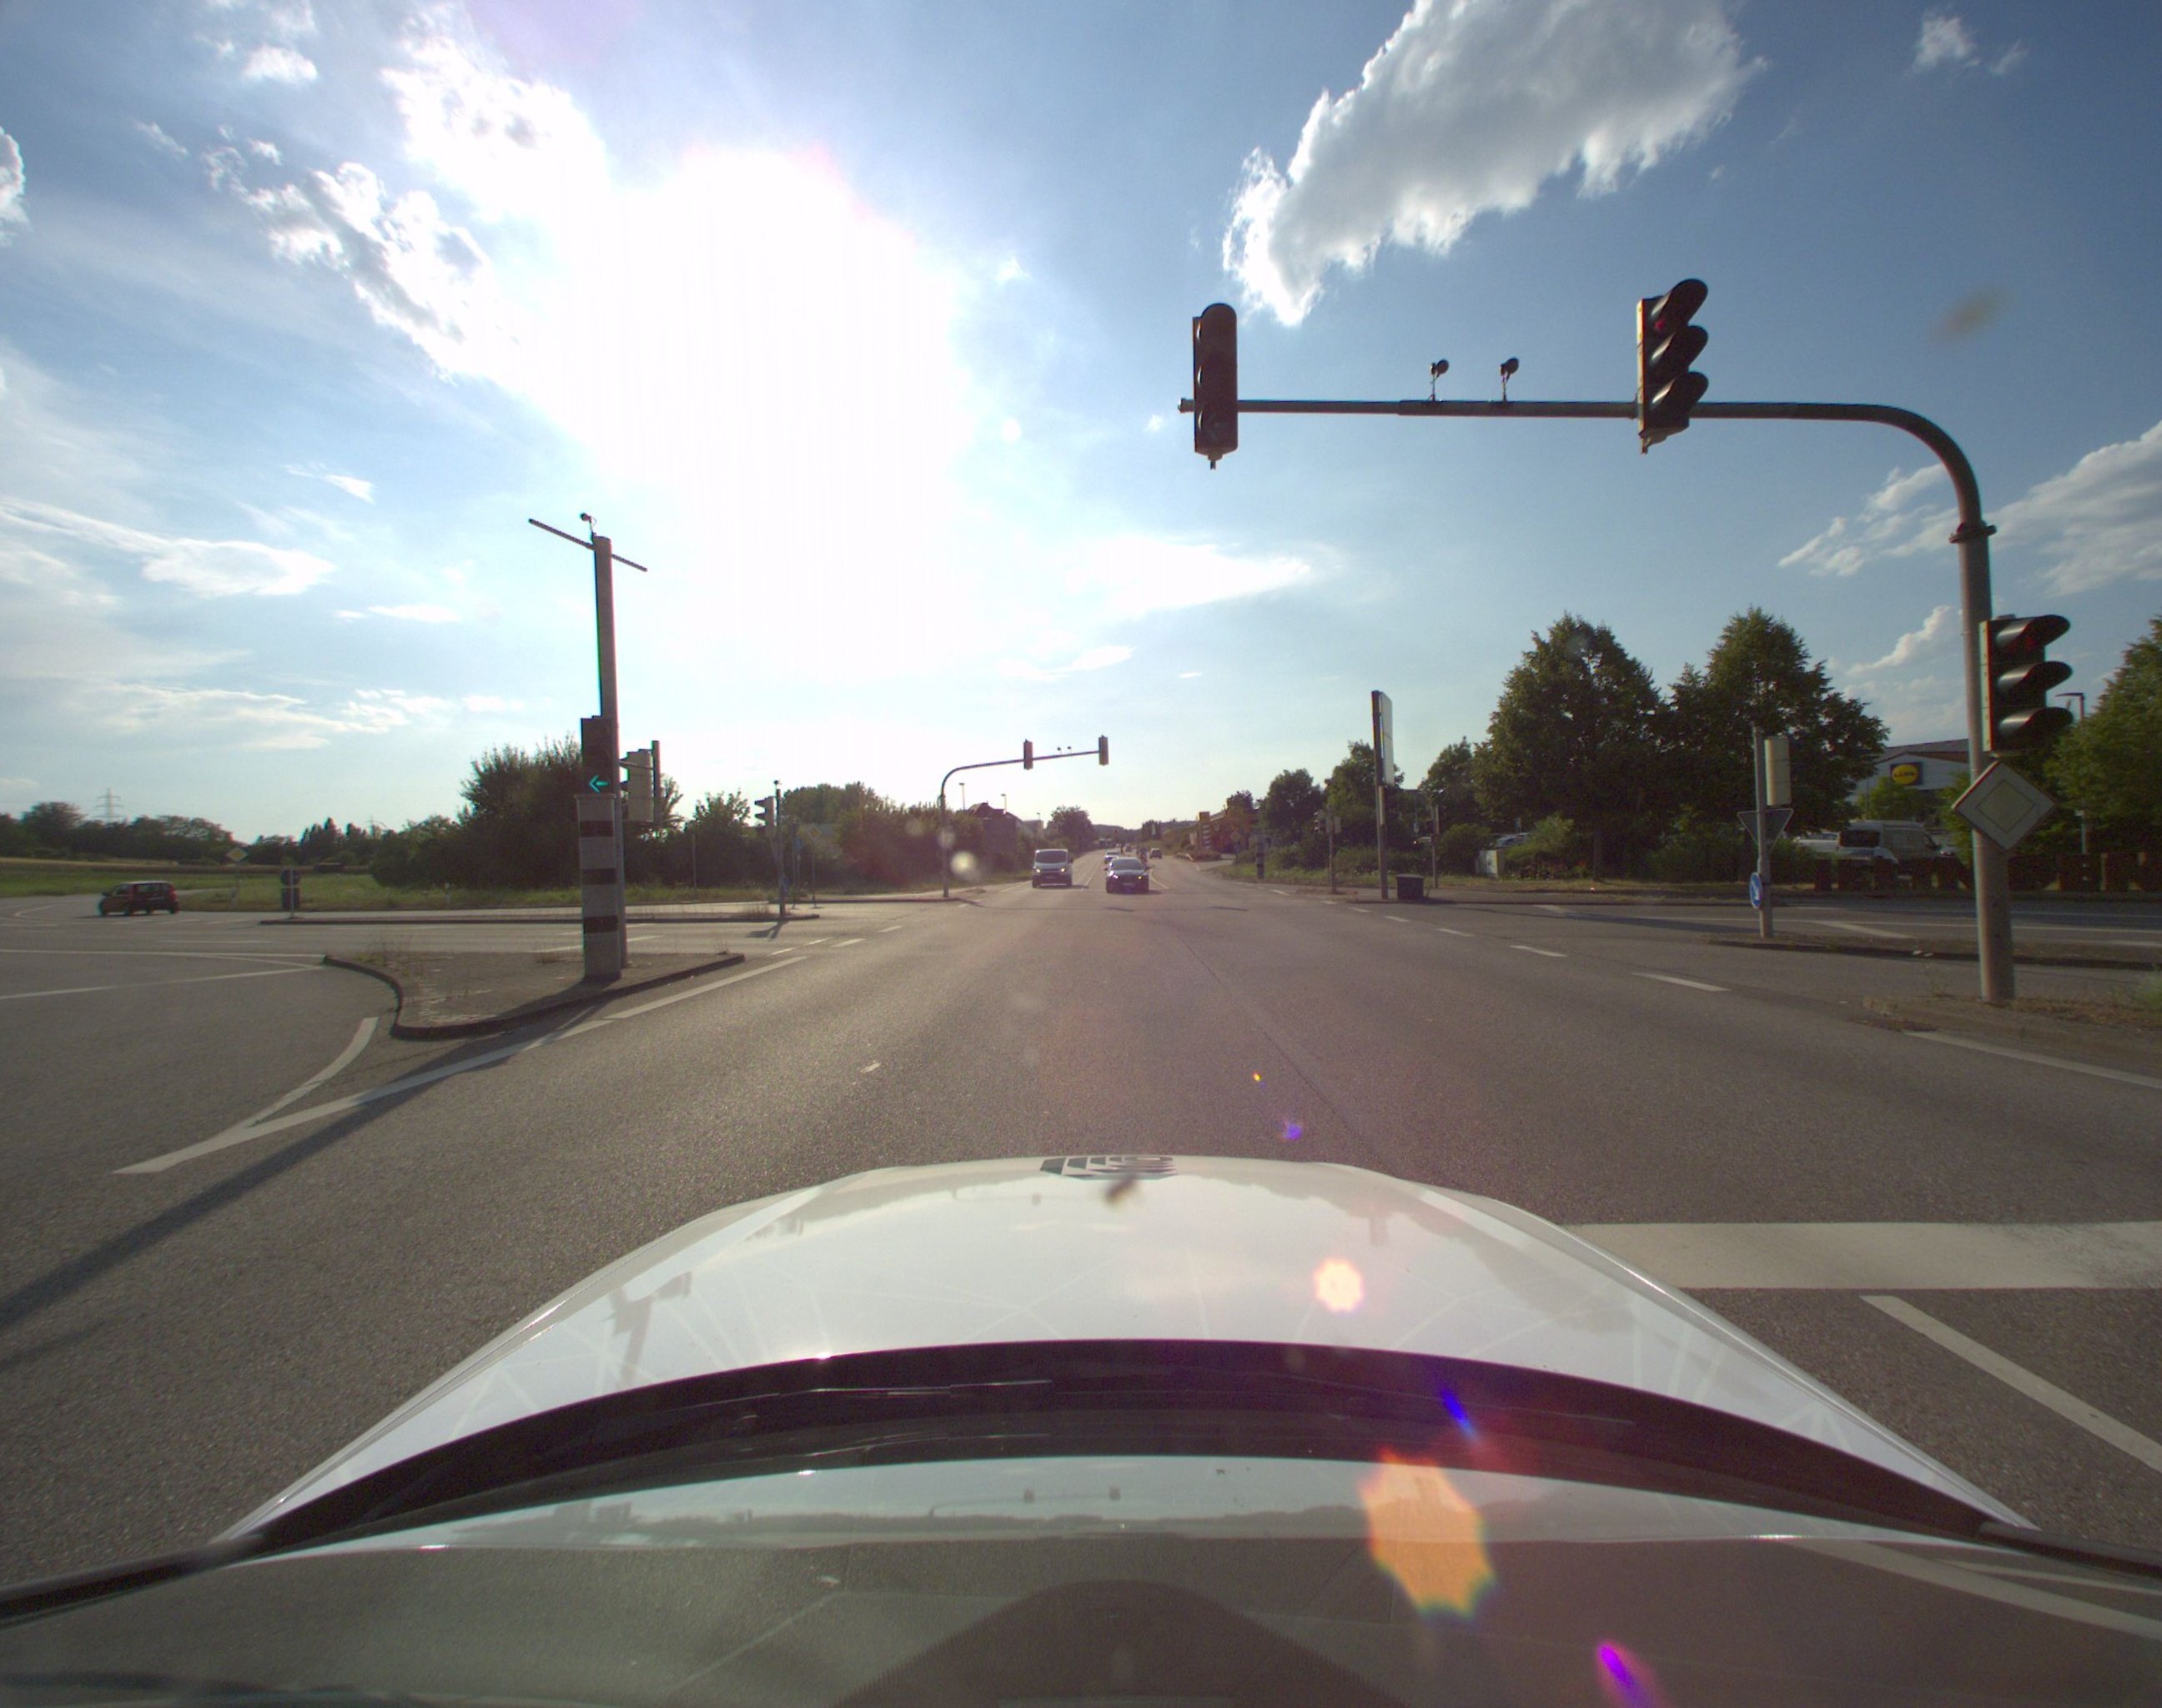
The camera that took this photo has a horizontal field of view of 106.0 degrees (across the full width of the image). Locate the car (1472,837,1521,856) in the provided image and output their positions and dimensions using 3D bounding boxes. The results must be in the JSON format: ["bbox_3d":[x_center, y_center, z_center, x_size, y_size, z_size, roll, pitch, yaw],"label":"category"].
[{"bbox_3d":[46.380,-0.826,90.921,4.931,2.014,1.987,0,-1,-20],"label":"car"}]

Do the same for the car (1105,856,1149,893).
[{"bbox_3d":[2.058,0.861,35.566,1.780,1.497,4.307,0,-1,4],"label":"car"}]

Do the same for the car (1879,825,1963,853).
[{"bbox_3d":[50.417,-0.861,48.925,1.571,1.550,3.221,0,-1,-32],"label":"car"}]

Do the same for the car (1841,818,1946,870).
[{"bbox_3d":[41.555,-0.475,41.647,5.144,2.507,1.985,0,-1,-23],"label":"car"}]

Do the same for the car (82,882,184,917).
[{"bbox_3d":[-43.274,2.034,37.185,3.812,1.500,1.736,-1,-1,19],"label":"car"}]

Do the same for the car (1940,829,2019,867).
[{"bbox_3d":[48.593,-0.311,44.052,4.000,1.954,1.442,0,-1,-20],"label":"car"}]

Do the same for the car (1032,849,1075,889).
[{"bbox_3d":[-1.383,0.719,43.011,1.893,1.947,4.822,0,1,3],"label":"car"}]

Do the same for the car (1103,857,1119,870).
[{"bbox_3d":[3.493,1.126,96.324,1.850,1.514,4.954,0,-1,2],"label":"car"}]

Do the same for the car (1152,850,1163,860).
[{"bbox_3d":[11.279,0.198,120.419,1.543,1.449,3.053,0,-1,4],"label":"car"}]

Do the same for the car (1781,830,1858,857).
[{"bbox_3d":[44.777,-0.605,49.423,1.577,1.509,3.112,0,-1,-14],"label":"car"}]

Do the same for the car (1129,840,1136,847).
[{"bbox_3d":[15.951,-3.313,252.008,1.988,2.014,3.996,0,-1,-2],"label":"car"}]

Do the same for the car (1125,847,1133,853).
[{"bbox_3d":[12.003,-0.951,203.147,1.736,1.352,3.201,0,-1,-2],"label":"car"}]
